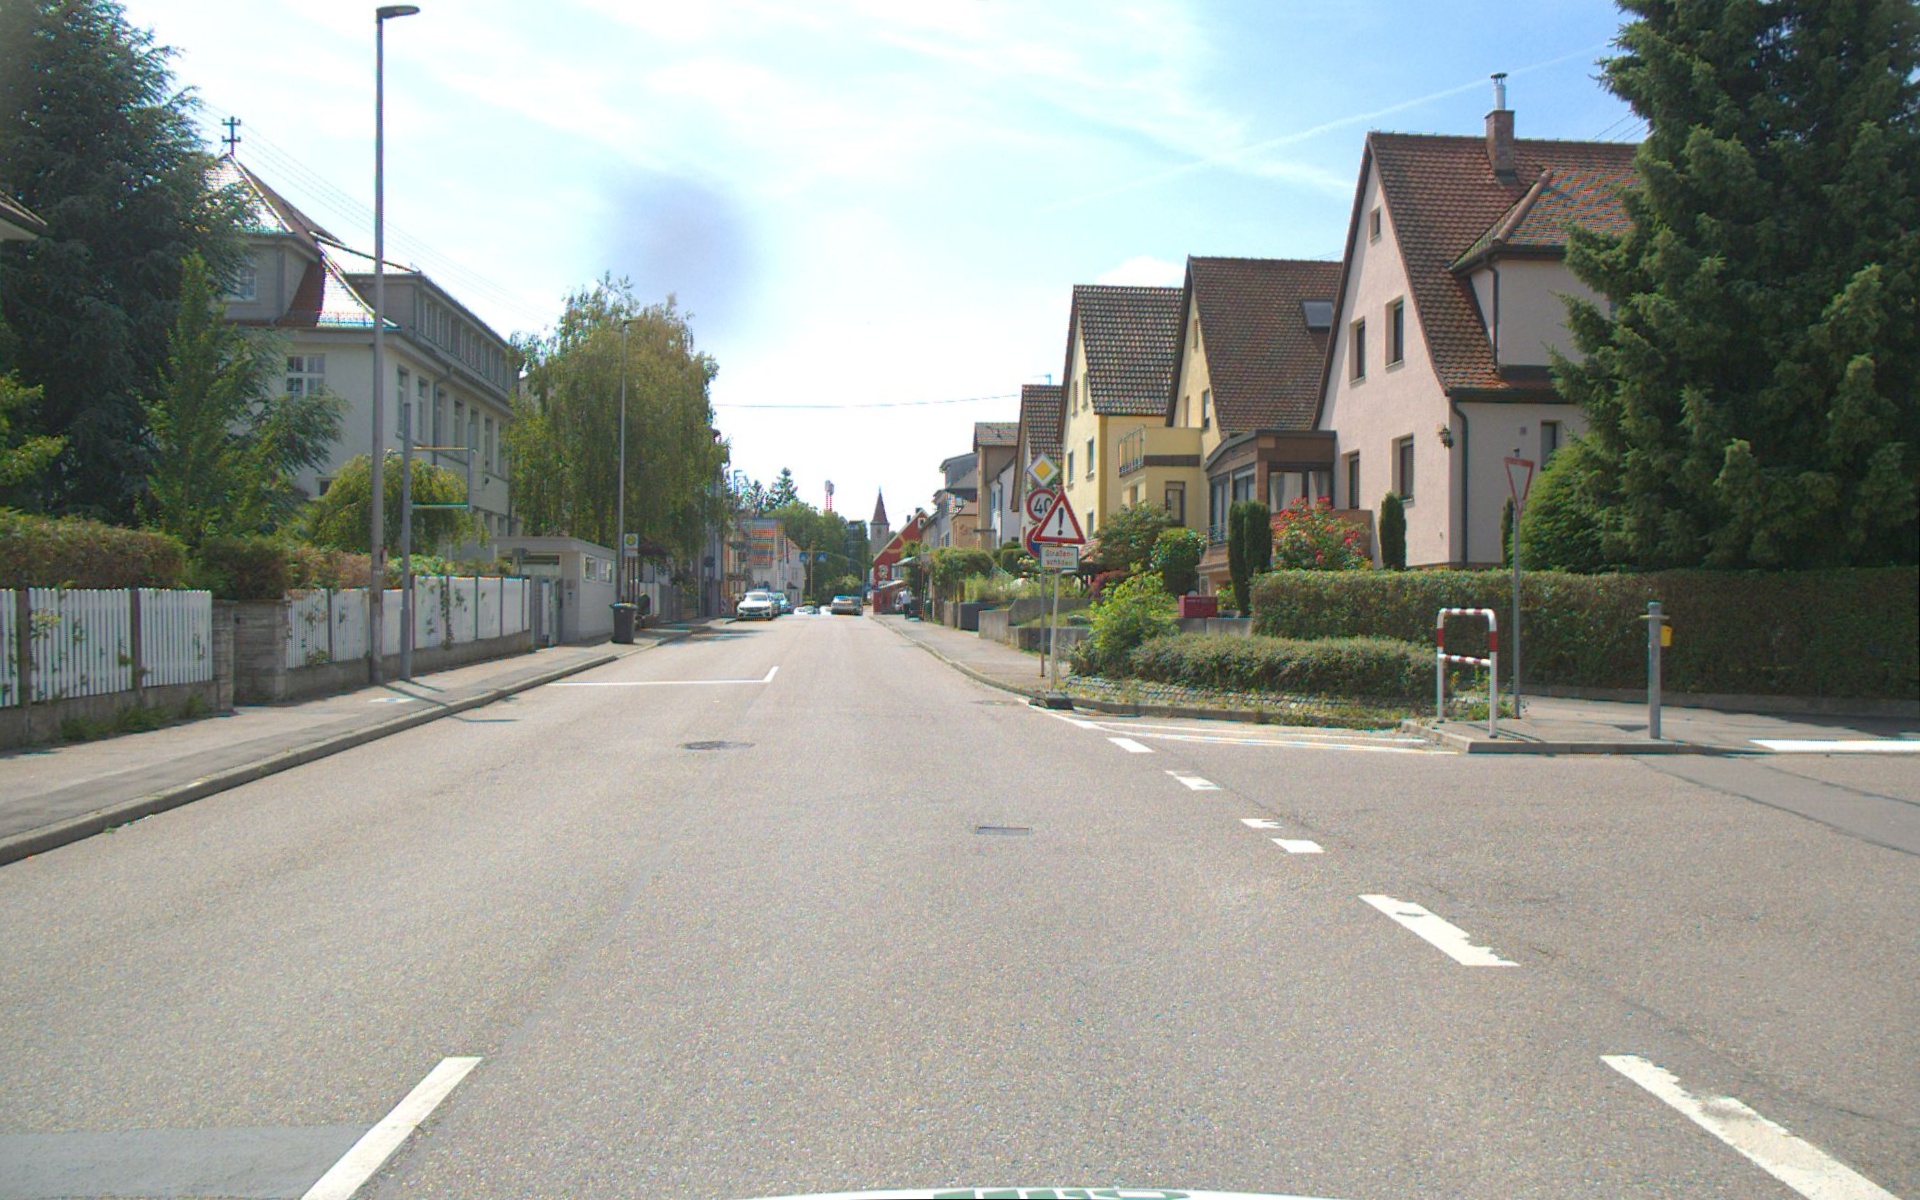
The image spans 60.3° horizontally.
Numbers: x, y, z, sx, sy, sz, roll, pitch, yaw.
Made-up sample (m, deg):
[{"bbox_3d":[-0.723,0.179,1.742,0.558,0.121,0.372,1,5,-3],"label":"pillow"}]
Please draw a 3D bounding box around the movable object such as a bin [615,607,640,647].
[{"bbox_3d":[-9.256,0.756,46.018,0.596,1.064,0.724,1,1,-5],"label":"movable object such as a bin"}]

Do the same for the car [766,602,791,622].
[{"bbox_3d":[-14.979,0.995,136.696,1.955,1.588,4.309,0,0,-5],"label":"car"}]

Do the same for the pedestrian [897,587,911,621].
[{"bbox_3d":[-2.952,0.185,87.404,0.633,1.760,0.608,-2,0,-5],"label":"pedestrian"}]

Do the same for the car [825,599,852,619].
[{"bbox_3d":[-9.825,0.736,133.555,1.956,1.588,4.306,0,0,-8],"label":"car"}]

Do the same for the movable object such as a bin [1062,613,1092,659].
[{"bbox_3d":[2.981,0.919,42.199,0.572,1.097,0.733,5,0,-5],"label":"movable object such as a bin"}]

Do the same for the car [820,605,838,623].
[{"bbox_3d":[-14.896,1.575,188.125,1.954,2.049,3.998,0,0,-3],"label":"car"}]

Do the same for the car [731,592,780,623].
[{"bbox_3d":[-10.762,0.367,87.416,2.067,1.588,4.313,0,0,0],"label":"car"}]

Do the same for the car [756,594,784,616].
[{"bbox_3d":[-14.099,0.354,123.080,1.955,1.588,4.309,0,0,-5],"label":"car"}]
